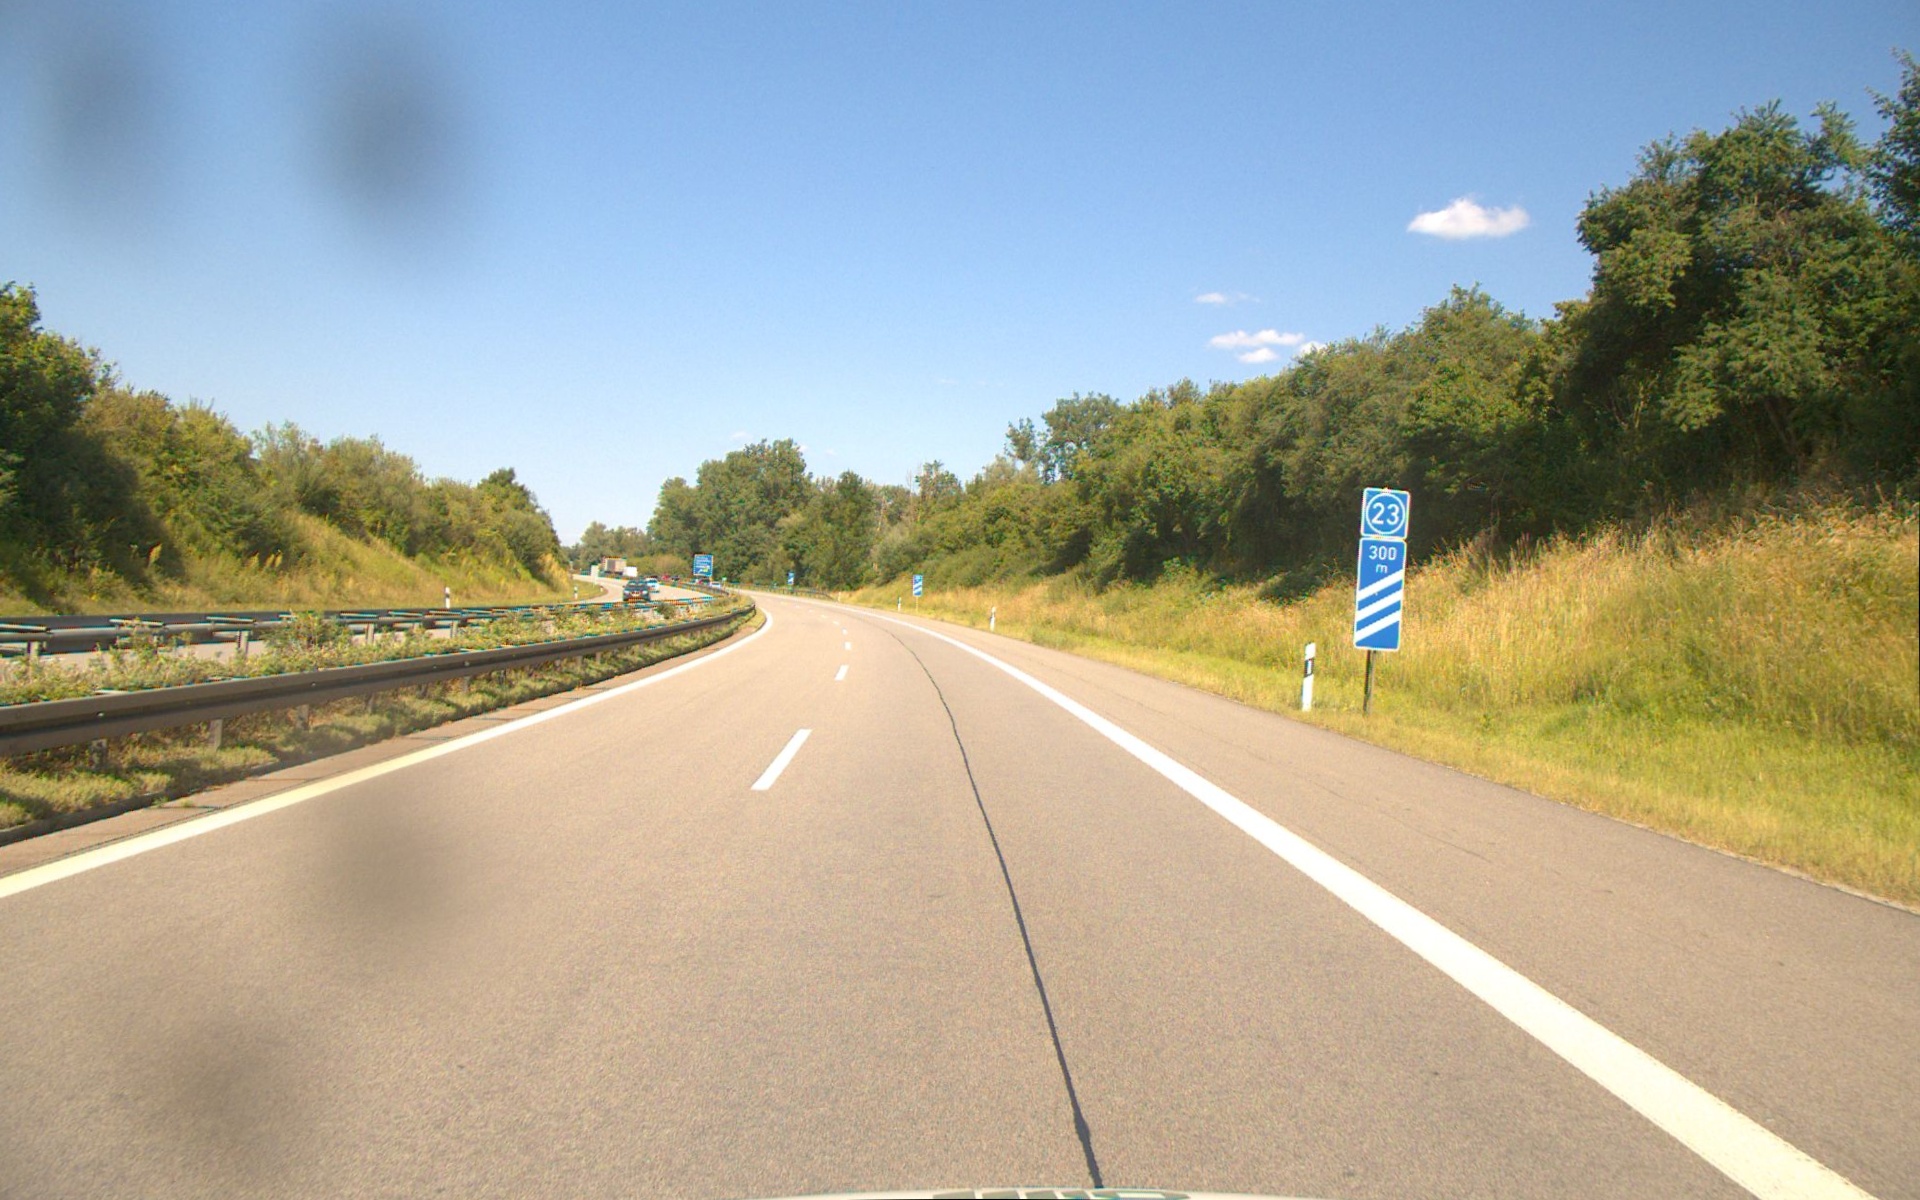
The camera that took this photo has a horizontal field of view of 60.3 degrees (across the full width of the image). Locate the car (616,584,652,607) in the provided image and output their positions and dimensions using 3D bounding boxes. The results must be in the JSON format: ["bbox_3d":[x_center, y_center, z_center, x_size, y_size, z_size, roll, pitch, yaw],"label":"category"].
[{"bbox_3d":[-23.560,-0.338,119.670,1.928,1.591,5.169,0,0,-4],"label":"car"}]

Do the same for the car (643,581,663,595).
[{"bbox_3d":[-32.833,-1.334,176.930,1.863,1.447,4.392,0,1,-7],"label":"car"}]

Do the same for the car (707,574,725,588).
[{"bbox_3d":[-32.185,-2.477,218.023,2.025,1.653,3.988,2,-2,-11],"label":"car"}]
